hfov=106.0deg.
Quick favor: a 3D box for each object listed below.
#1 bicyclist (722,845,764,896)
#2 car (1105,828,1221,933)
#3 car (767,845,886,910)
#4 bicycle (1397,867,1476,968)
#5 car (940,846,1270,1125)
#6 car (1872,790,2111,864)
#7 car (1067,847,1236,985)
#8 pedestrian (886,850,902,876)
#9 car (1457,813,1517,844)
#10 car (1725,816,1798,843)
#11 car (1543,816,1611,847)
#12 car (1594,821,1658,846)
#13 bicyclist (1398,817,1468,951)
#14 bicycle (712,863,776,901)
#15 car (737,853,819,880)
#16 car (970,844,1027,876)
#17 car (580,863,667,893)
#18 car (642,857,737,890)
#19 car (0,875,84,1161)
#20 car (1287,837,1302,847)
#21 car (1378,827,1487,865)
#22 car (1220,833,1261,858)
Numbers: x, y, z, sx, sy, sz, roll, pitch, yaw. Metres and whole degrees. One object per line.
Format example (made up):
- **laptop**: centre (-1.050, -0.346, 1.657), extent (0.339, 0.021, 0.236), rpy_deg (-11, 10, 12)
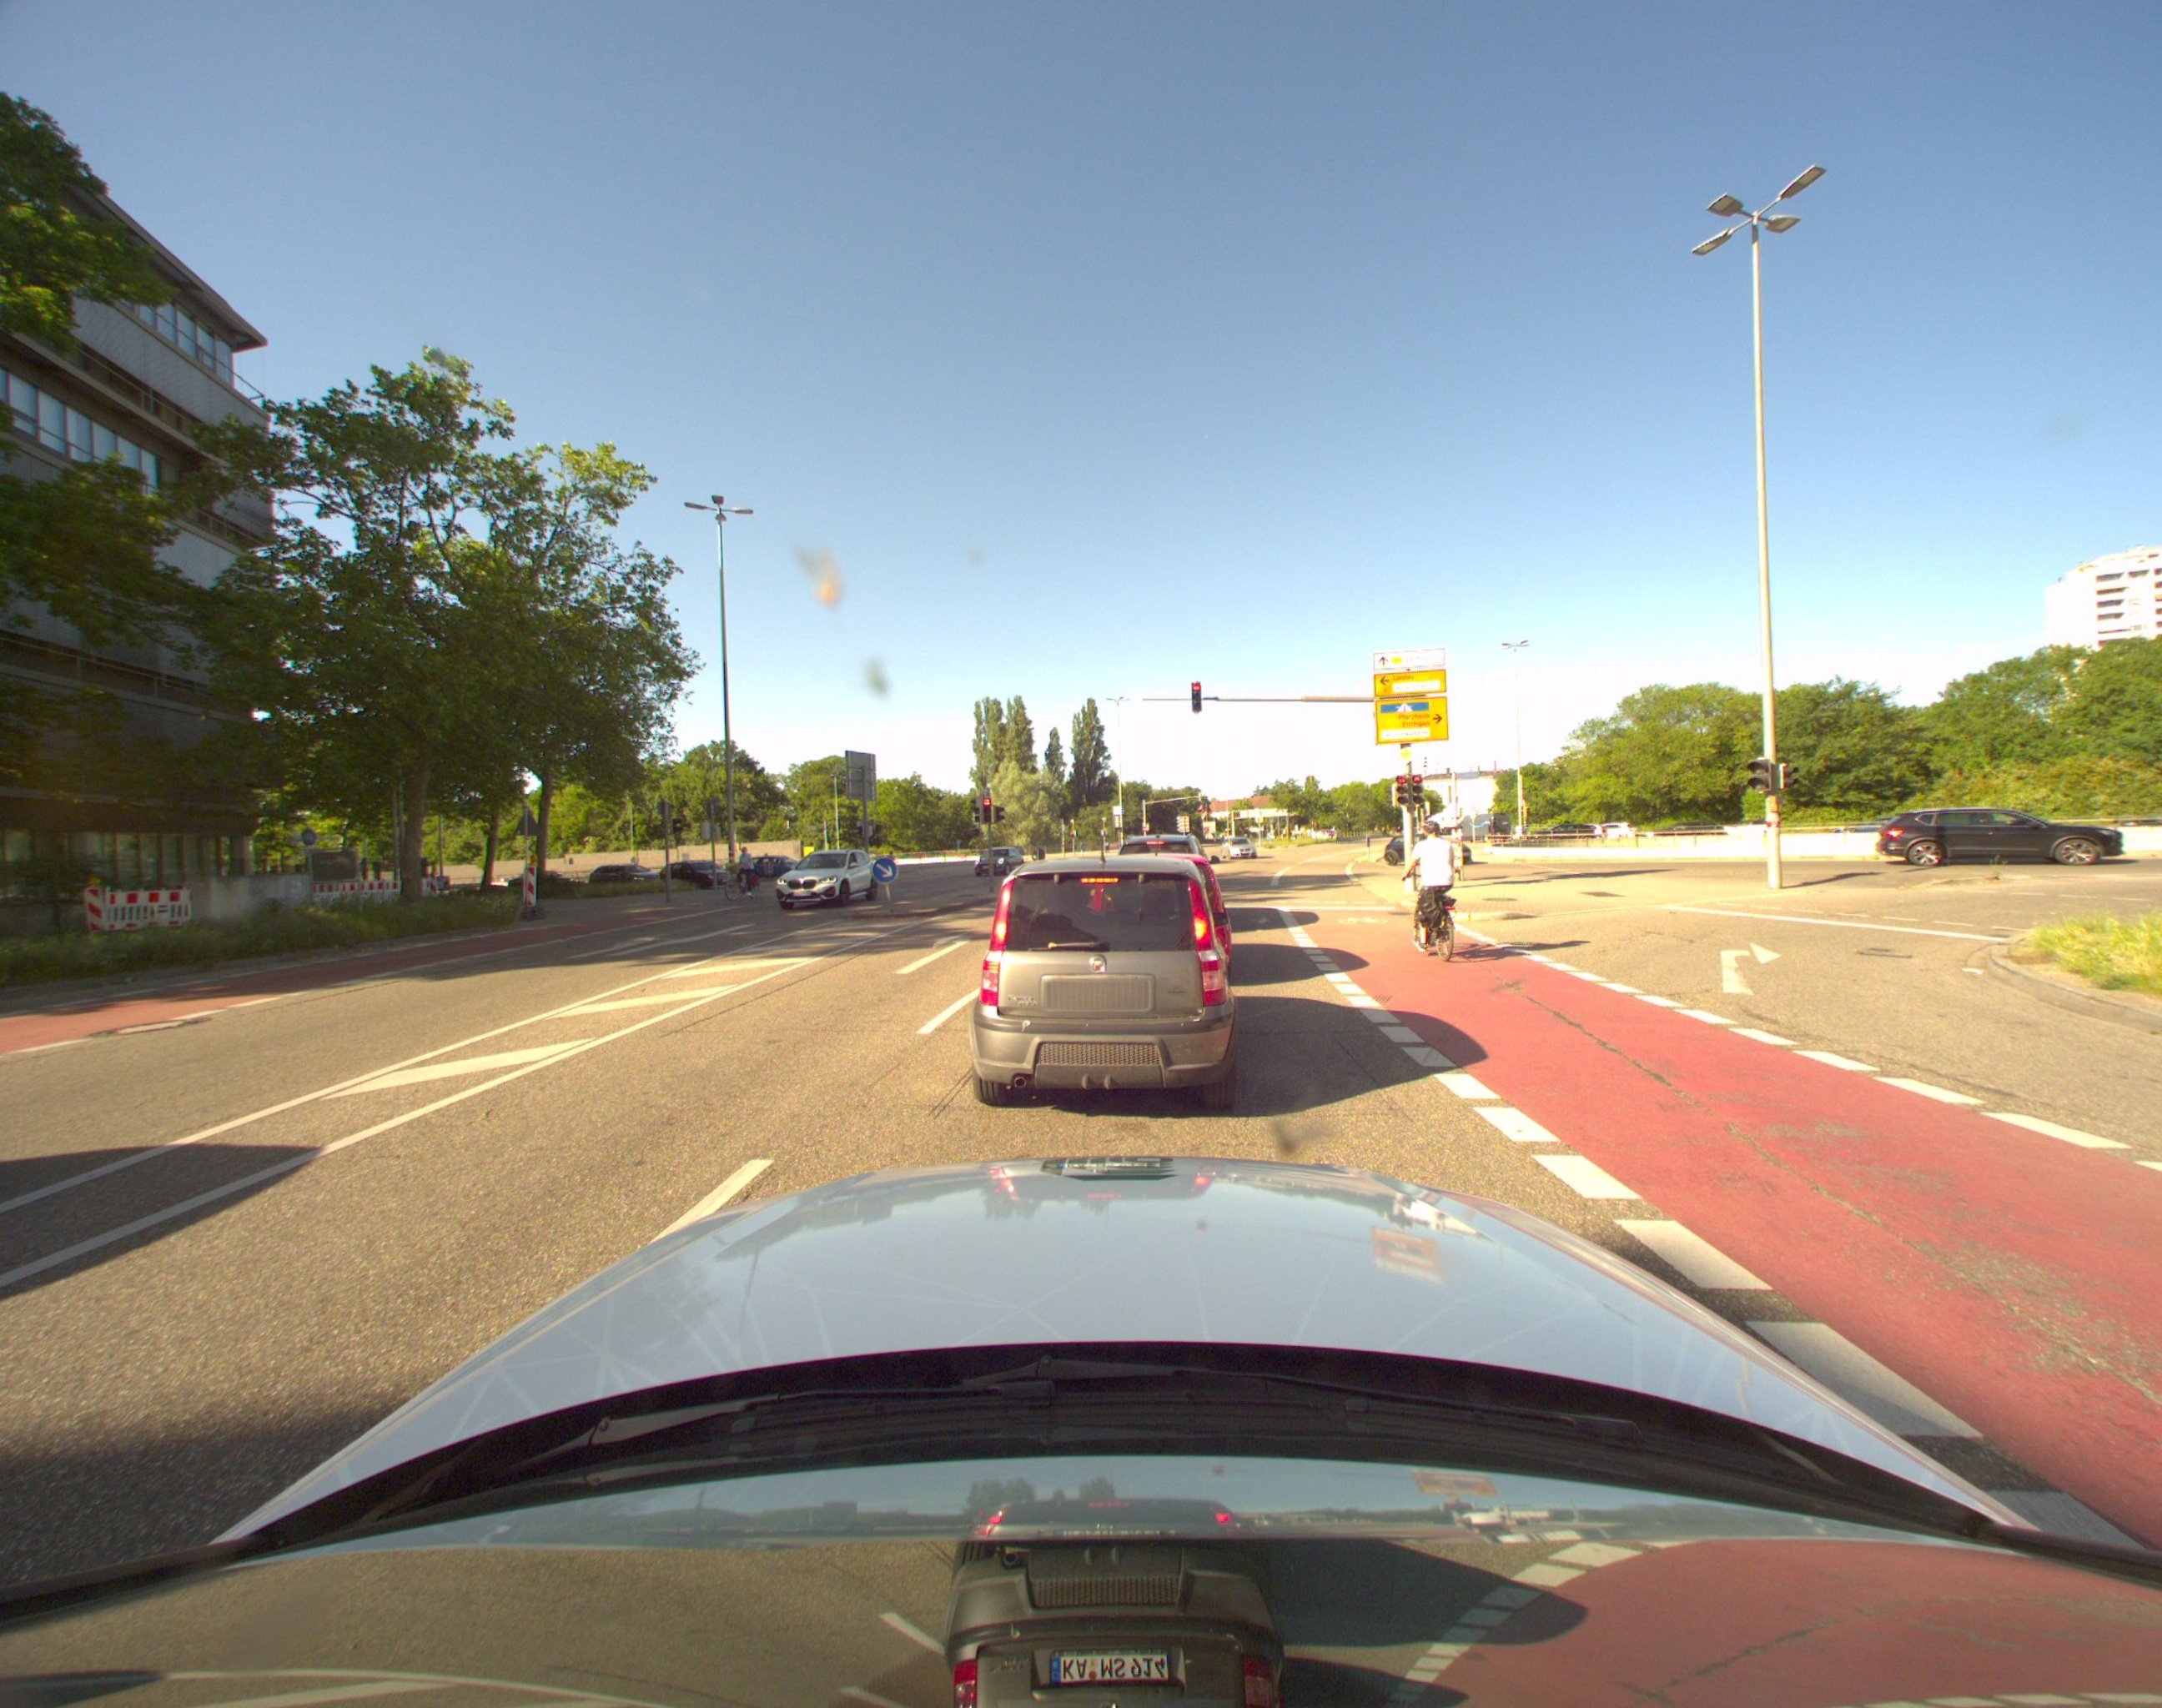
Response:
- **bicyclist**: centre (-11.737, 0.550, 28.318), extent (0.681, 1.701, 1.203), rpy_deg (-2, 1, 17)
- **car**: centre (1.772, 0.420, 16.185), extent (1.857, 1.790, 4.428), rpy_deg (0, 1, 11)
- **car**: centre (-7.406, 0.616, 24.215), extent (1.826, 1.653, 4.632), rpy_deg (-3, 1, 2)
- **bicycle**: centre (4.697, 0.772, 10.902), extent (0.793, 1.110, 2.414), rpy_deg (0, 1, 20)
- **car**: centre (0.312, 0.693, 6.476), extent (1.811, 1.489, 4.006), rpy_deg (0, 1, 5)
- **car**: centre (26.078, -0.683, 23.612), extent (4.304, 1.836, 2.012), rpy_deg (-2, -2, 40)
- **car**: centre (0.926, 0.664, 10.822), extent (1.811, 1.479, 4.005), rpy_deg (0, 0, 5)
- **pedestrian**: centre (-11.673, 0.583, 50.759), extent (0.684, 1.538, 1.365), rpy_deg (-1, -4, 0)
- **car**: centre (37.579, -2.316, 75.539), extent (2.258, 2.607, 4.860), rpy_deg (-1, -2, -15)
- **car**: centre (48.724, -1.711, 58.381), extent (3.948, 1.684, 1.868), rpy_deg (-2, -2, 40)
- **car**: centre (36.393, -1.605, 59.738), extent (3.948, 2.014, 2.012), rpy_deg (-2, -2, 40)
- **car**: centre (42.902, -1.605, 64.172), extent (3.948, 1.750, 2.012), rpy_deg (-2, -2, 40)
- **bicyclist**: centre (4.725, 0.371, 10.986), extent (0.793, 1.705, 1.091), rpy_deg (0, 1, 19)
- **bicycle**: centre (-11.706, 0.951, 28.364), extent (0.681, 1.202, 2.338), rpy_deg (-2, 1, 17)
- **car**: centre (-18.864, 0.756, 50.787), extent (4.405, 1.438, 1.833), rpy_deg (-2, 1, 13)
- **car**: centre (-4.259, 0.278, 42.722), extent (1.674, 1.456, 3.929), rpy_deg (-2, 2, 14)
- **car**: centre (-24.959, 1.320, 44.423), extent (4.396, 1.438, 1.836), rpy_deg (-2, 1, 24)
- **car**: centre (-19.642, 0.977, 40.865), extent (4.396, 1.438, 1.836), rpy_deg (-2, 1, 24)
- **car**: centre (-6.544, 0.932, 2.400), extent (1.816, 1.503, 4.445), rpy_deg (-3, 1, -4)
- **car**: centre (44.083, -2.428, 168.108), extent (1.994, 1.855, 4.458), rpy_deg (-2, -2, 29)
- **car**: centre (15.423, -0.316, 35.949), extent (2.006, 1.453, 3.963), rpy_deg (-3, 0, -28)
- **car**: centre (10.501, -0.611, 54.012), extent (1.746, 1.493, 4.347), rpy_deg (-2, 2, -2)
